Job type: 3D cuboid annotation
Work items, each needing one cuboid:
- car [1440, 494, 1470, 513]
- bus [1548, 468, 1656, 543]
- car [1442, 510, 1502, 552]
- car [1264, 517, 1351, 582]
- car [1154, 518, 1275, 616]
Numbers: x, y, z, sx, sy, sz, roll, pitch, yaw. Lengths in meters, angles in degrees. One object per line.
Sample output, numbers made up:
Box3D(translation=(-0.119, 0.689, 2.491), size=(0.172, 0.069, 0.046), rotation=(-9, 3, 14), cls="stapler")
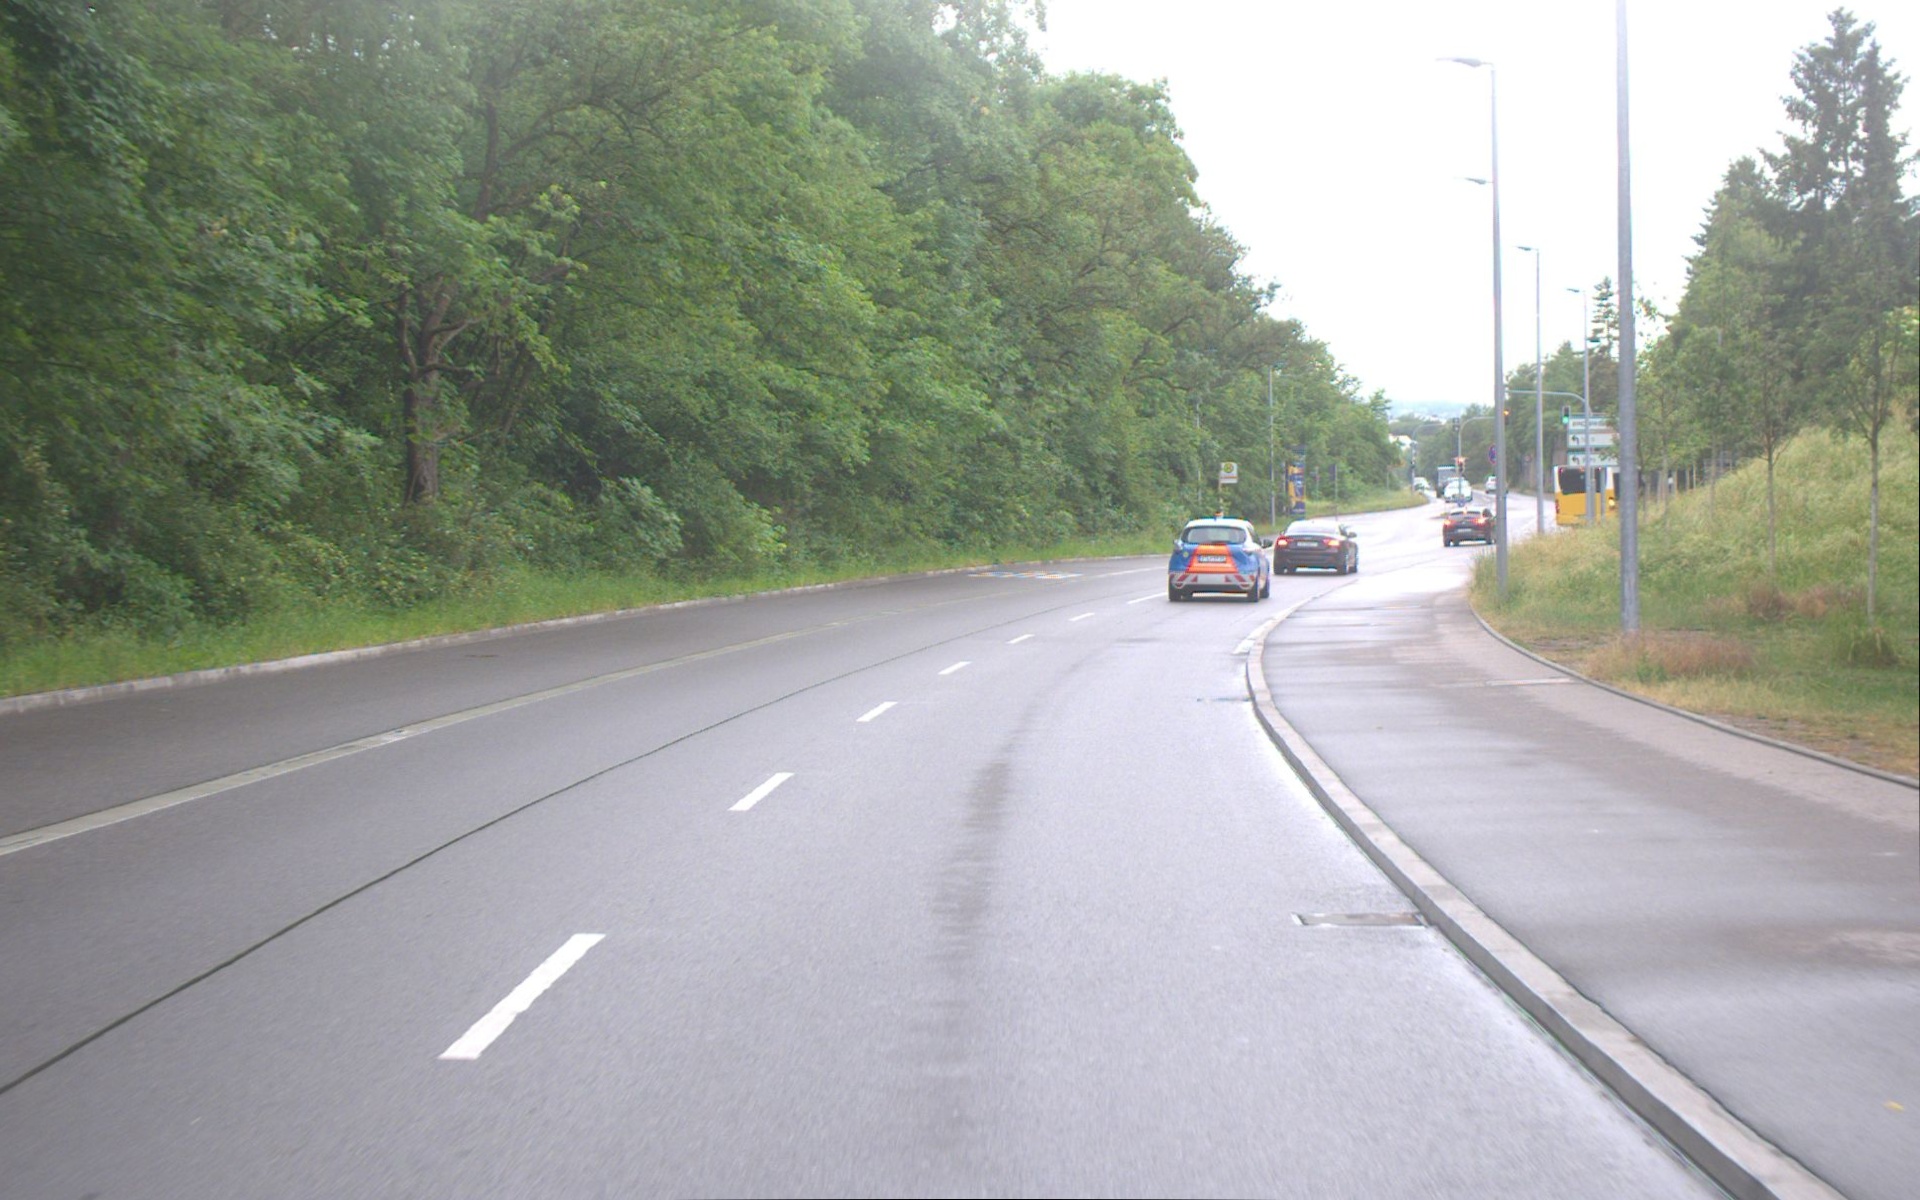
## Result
Box3D(translation=(35.949, -7.003, 249.714), size=(1.994, 1.415, 3.999), rotation=(0, 1, 7), cls="car")
Box3D(translation=(27.927, -4.092, 149.206), size=(2.820, 3.132, 9.170), rotation=(1, 2, 22), cls="bus")
Box3D(translation=(19.213, -2.613, 129.001), size=(1.994, 1.546, 3.998), rotation=(1, 1, 12), cls="car")
Box3D(translation=(8.928, -1.313, 88.171), size=(1.928, 1.481, 3.798), rotation=(-1, 3, 10), cls="car")
Box3D(translation=(4.920, -0.657, 66.113), size=(1.994, 1.683, 3.999), rotation=(-1, 3, 9), cls="car")
